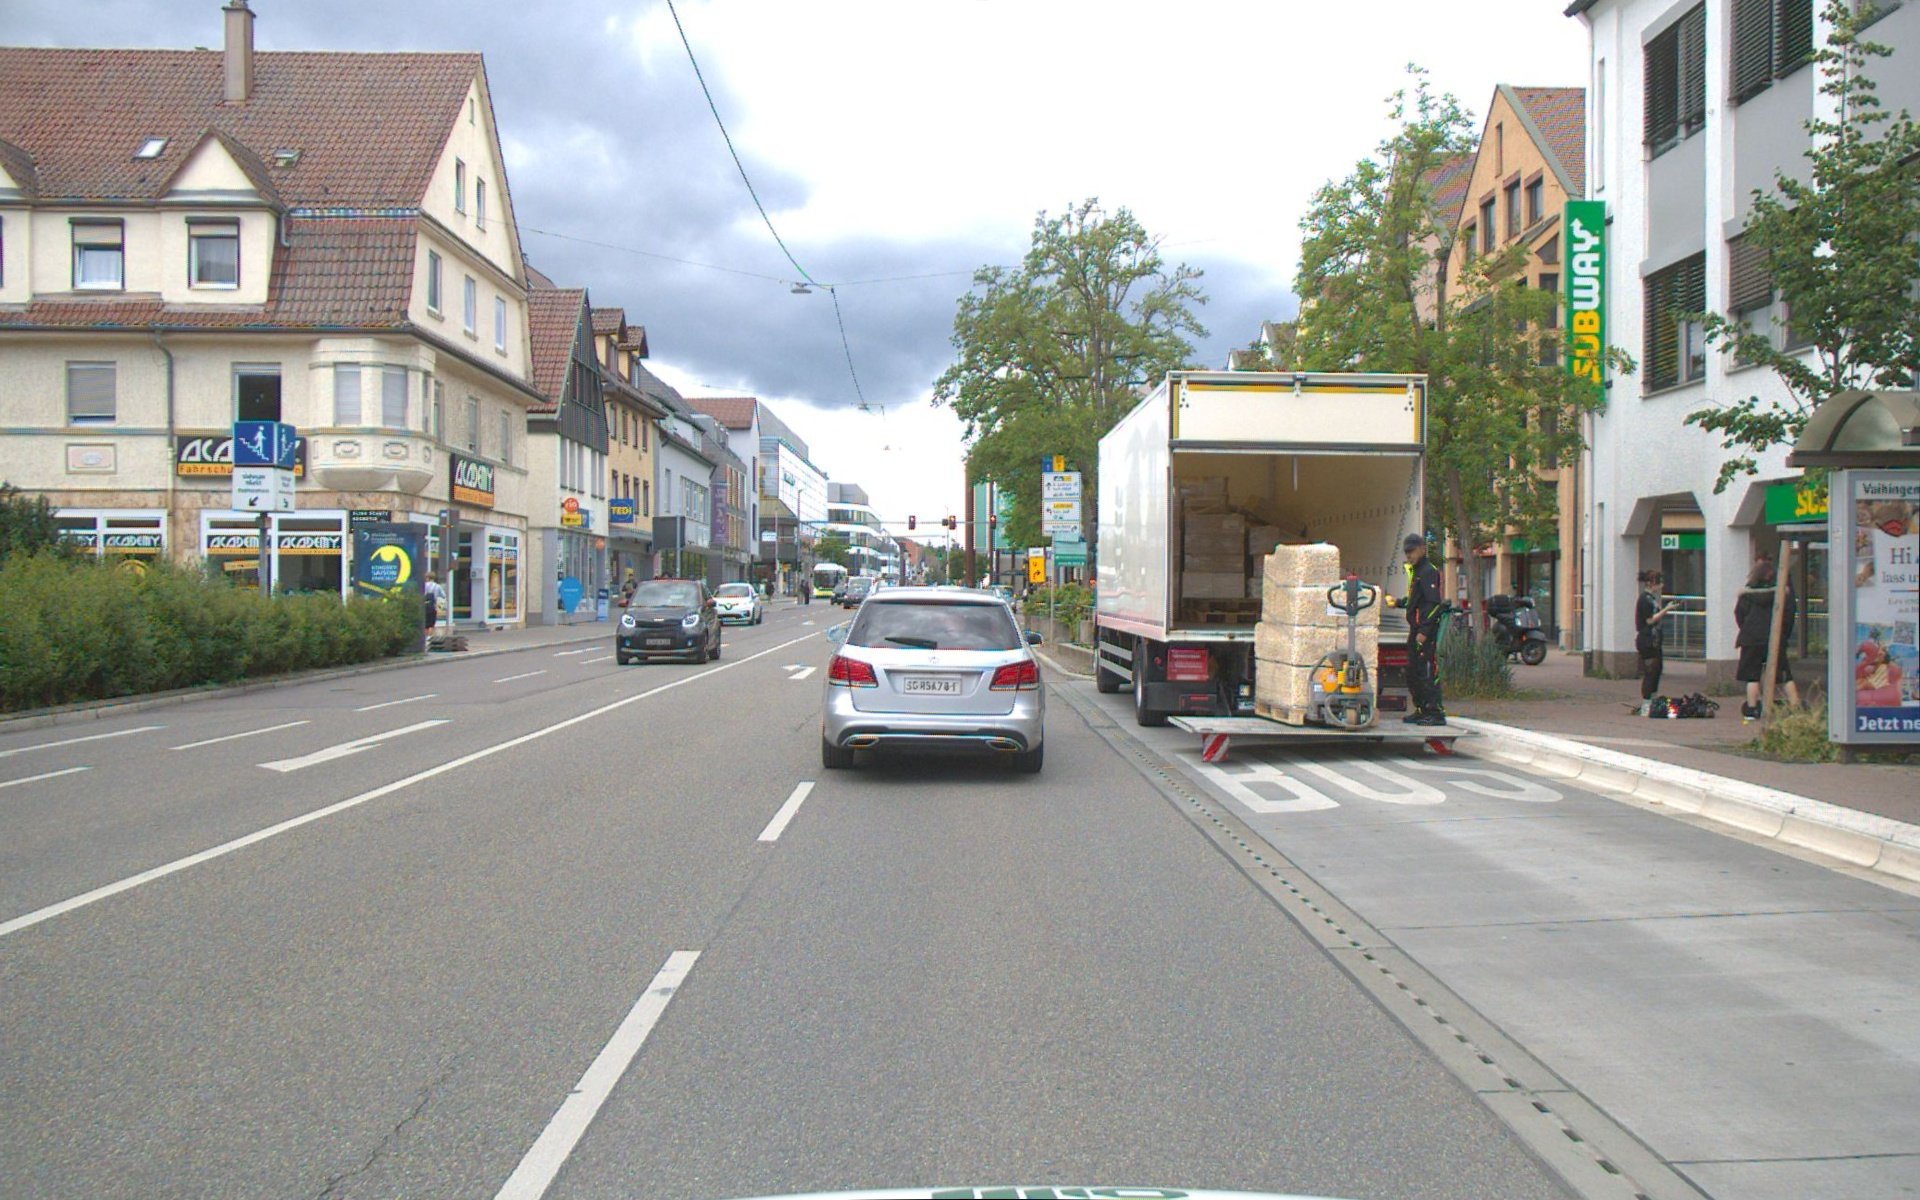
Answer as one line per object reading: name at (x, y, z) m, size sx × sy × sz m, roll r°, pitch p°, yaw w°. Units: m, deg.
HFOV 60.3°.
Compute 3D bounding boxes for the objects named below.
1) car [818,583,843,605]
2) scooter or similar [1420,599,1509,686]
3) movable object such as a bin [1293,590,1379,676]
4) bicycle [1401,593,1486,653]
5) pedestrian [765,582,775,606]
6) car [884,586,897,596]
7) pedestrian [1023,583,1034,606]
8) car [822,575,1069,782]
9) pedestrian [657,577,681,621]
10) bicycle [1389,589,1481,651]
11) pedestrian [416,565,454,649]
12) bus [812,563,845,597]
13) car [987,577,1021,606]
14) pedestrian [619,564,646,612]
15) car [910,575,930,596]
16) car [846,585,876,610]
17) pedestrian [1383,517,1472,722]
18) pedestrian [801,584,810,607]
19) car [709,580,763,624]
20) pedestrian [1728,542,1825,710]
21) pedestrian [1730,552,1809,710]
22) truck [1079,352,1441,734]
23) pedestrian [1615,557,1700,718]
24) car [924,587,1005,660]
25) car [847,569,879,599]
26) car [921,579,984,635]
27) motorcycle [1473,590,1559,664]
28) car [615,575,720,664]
car at (-9.587, -0.465, 122.281) m, size 1.584 × 1.550 × 3.507 m, roll -1°, pitch 1°, yaw -1°
scooter or similar at (7.248, 0.603, 23.775) m, size 1.154 × 1.217 × 0.459 m, roll 0°, pitch 0°, yaw -10°
movable object such as a bin at (6.101, 0.516, 26.943) m, size 1.120 × 1.363 × 1.376 m, roll 0°, pitch 0°, yaw 1°
bicycle at (10.476, 0.488, 35.885) m, size 1.641 × 1.281 × 0.669 m, roll 0°, pitch 0°, yaw -4°
pedestrian at (-13.424, -0.443, 116.606) m, size 0.574 × 1.663 × 0.615 m, roll 3°, pitch 1°, yaw -3°
car at (-8.844, -1.110, 210.036) m, size 1.542 × 1.266 × 3.606 m, roll 0°, pitch 0°, yaw 0°
pedestrian at (5.064, -0.439, 121.913) m, size 0.602 × 1.663 × 0.587 m, roll 3°, pitch 1°, yaw -9°
car at (-0.184, 0.583, 14.402) m, size 1.836 × 1.532 × 3.998 m, roll 1°, pitch 0°, yaw -2°
pedestrian at (-11.245, -0.028, 63.993) m, size 0.801 × 1.663 × 0.979 m, roll 2°, pitch 0°, yaw -6°
bicycle at (10.555, 0.444, 36.782) m, size 1.780 × 1.350 × 0.843 m, roll 0°, pitch 0°, yaw -4°
pedestrian at (-11.772, 0.145, 37.086) m, size 0.620 × 1.855 × 0.680 m, roll -1°, pitch 0°, yaw -1°
bus at (-12.794, -1.916, 161.329) m, size 2.718 × 3.220 × 5.932 m, roll 0°, pitch 0°, yaw 0°
car at (2.663, -0.518, 101.355) m, size 1.953 × 1.713 × 4.000 m, roll 0°, pitch 0°, yaw 0°
pedestrian at (-12.653, -0.468, 63.857) m, size 0.850 × 1.777 × 0.805 m, roll 3°, pitch 1°, yaw -5°
car at (-3.935, -1.484, 163.720) m, size 1.953 × 2.049 × 4.000 m, roll 0°, pitch 1°, yaw -1°
car at (-6.076, -0.174, 102.197) m, size 1.583 × 1.453 × 3.923 m, roll 0°, pitch 1°, yaw 0°
pedestrian at (4.213, 0.176, 14.936) m, size 0.601 × 1.811 × 0.587 m, roll 0°, pitch -1°, yaw -4°
pedestrian at (-11.430, -0.340, 122.328) m, size 0.601 × 1.663 × 0.588 m, roll 3°, pitch 1°, yaw -2°
car at (-8.376, 0.083, 62.158) m, size 1.607 × 1.595 × 3.925 m, roll -1°, pitch 0°, yaw -2°
pedestrian at (9.246, 0.288, 18.748) m, size 0.605 × 1.851 × 0.761 m, roll 0°, pitch -1°, yaw -24°
pedestrian at (8.616, 0.329, 17.606) m, size 0.578 × 1.640 × 0.610 m, roll -1°, pitch -1°, yaw 45°
truck at (3.206, -0.590, 20.617) m, size 2.634 × 3.623 × 9.765 m, roll 0°, pitch 1°, yaw -1°
pedestrian at (7.896, 0.414, 18.735) m, size 0.601 × 1.770 × 0.587 m, roll 3°, pitch 1°, yaw -4°
car at (0.082, 0.490, 37.211) m, size 1.718 × 1.547 × 3.999 m, roll 0°, pitch 0°, yaw 0°
car at (-6.580, -1.089, 112.669) m, size 1.921 × 1.995 × 5.139 m, roll -1°, pitch 0°, yaw -1°
car at (-0.238, 0.202, 53.478) m, size 1.953 × 1.713 × 4.000 m, roll 0°, pitch 0°, yaw 0°
motorcycle at (10.156, 0.468, 30.300) m, size 0.722 × 1.293 × 2.106 m, roll 0°, pitch 0°, yaw -4°
car at (-5.471, 0.339, 31.177) m, size 1.539 × 1.567 × 2.959 m, roll -2°, pitch 0°, yaw -3°
